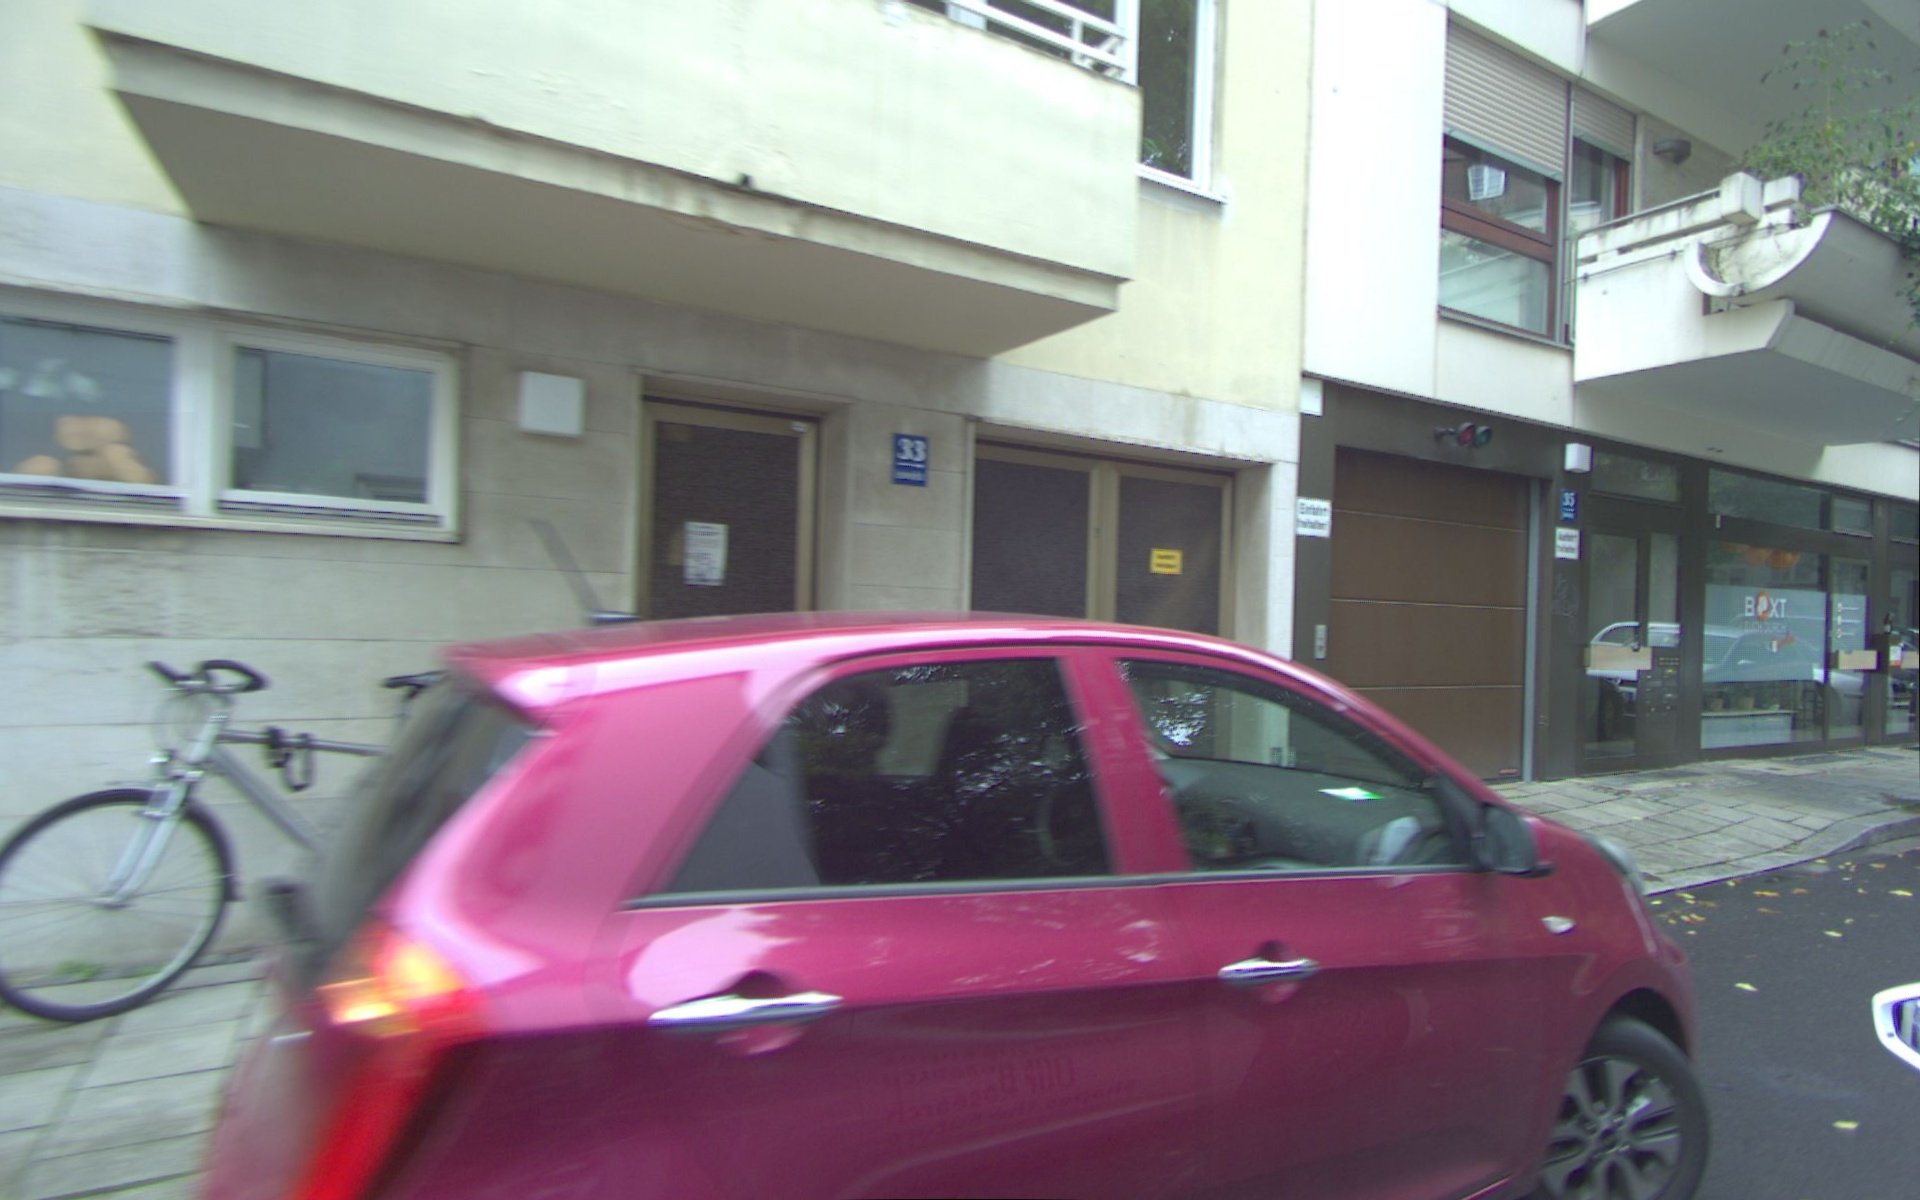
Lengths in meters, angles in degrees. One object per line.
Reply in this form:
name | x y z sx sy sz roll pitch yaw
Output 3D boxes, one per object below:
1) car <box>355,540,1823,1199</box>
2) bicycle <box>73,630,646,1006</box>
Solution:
car | 0.542 0.746 2.669 3.667 1.516 1.611 2 -1 -31
bicycle | -2.136 0.713 3.795 1.739 1.164 0.465 1 1 -30
